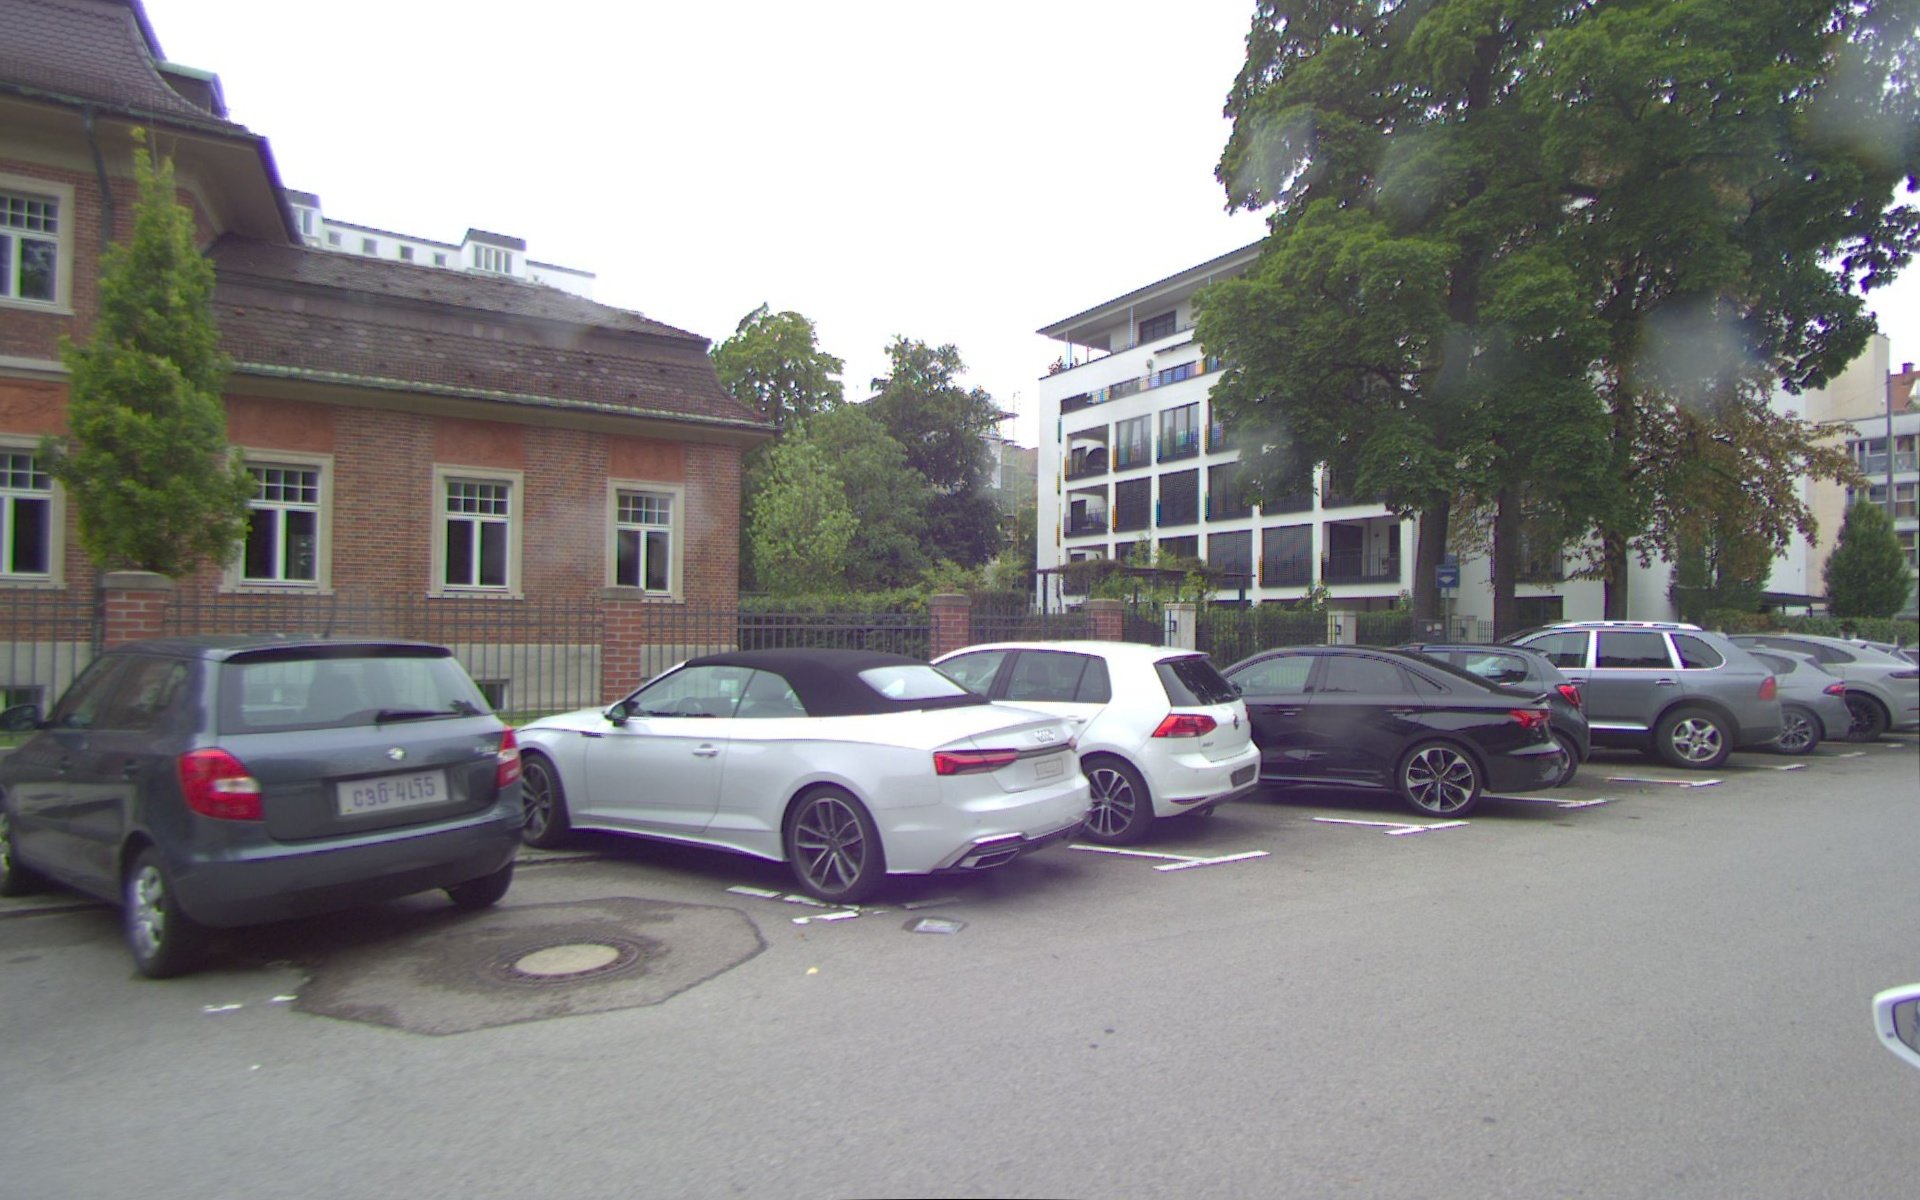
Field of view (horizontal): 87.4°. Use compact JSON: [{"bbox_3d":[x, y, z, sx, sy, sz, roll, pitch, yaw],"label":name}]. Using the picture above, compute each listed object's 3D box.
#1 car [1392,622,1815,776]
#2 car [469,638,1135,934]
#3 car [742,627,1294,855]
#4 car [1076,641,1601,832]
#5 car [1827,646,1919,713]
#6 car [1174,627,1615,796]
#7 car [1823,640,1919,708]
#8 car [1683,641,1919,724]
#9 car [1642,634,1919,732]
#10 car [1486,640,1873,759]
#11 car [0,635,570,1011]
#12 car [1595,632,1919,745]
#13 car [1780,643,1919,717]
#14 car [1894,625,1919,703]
[{"bbox_3d":[8.005,1.171,13.105,4.328,1.721,2.136,0,-2,24],"label":"car"},{"bbox_3d":[-1.217,1.004,7.005,4.439,1.470,1.893,-1,-3,32],"label":"car"},{"bbox_3d":[0.398,1.097,8.780,4.439,1.529,1.928,-3,-4,32],"label":"car"},{"bbox_3d":[3.496,1.155,9.733,4.329,1.458,1.964,-1,-3,25],"label":"car"},{"bbox_3d":[22.169,1.750,22.336,4.148,1.480,1.732,-2,-3,35],"label":"car"},{"bbox_3d":[4.850,1.162,11.677,4.328,1.651,1.965,0,-2,24],"label":"car"},{"bbox_3d":[23.877,1.779,24.376,4.144,1.630,1.734,-2,-3,31],"label":"car"},{"bbox_3d":[17.013,1.588,19.970,4.145,1.480,1.789,-1,-3,32],"label":"car"},{"bbox_3d":[15.150,1.465,18.541,4.145,1.619,1.882,-1,-3,32],"label":"car"},{"bbox_3d":[10.340,1.373,14.928,4.328,1.510,2.016,0,-2,24],"label":"car"},{"bbox_3d":[-4.306,0.950,5.884,4.323,1.470,1.652,-2,-2,35],"label":"car"},{"bbox_3d":[13.164,1.372,16.692,4.339,1.642,2.080,-1,-3,35],"label":"car"},{"bbox_3d":[19.889,1.640,20.798,4.139,1.480,1.736,-2,-3,26],"label":"car"},{"bbox_3d":[28.155,1.708,26.932,4.140,2.093,1.735,-2,-3,27],"label":"car"}]
